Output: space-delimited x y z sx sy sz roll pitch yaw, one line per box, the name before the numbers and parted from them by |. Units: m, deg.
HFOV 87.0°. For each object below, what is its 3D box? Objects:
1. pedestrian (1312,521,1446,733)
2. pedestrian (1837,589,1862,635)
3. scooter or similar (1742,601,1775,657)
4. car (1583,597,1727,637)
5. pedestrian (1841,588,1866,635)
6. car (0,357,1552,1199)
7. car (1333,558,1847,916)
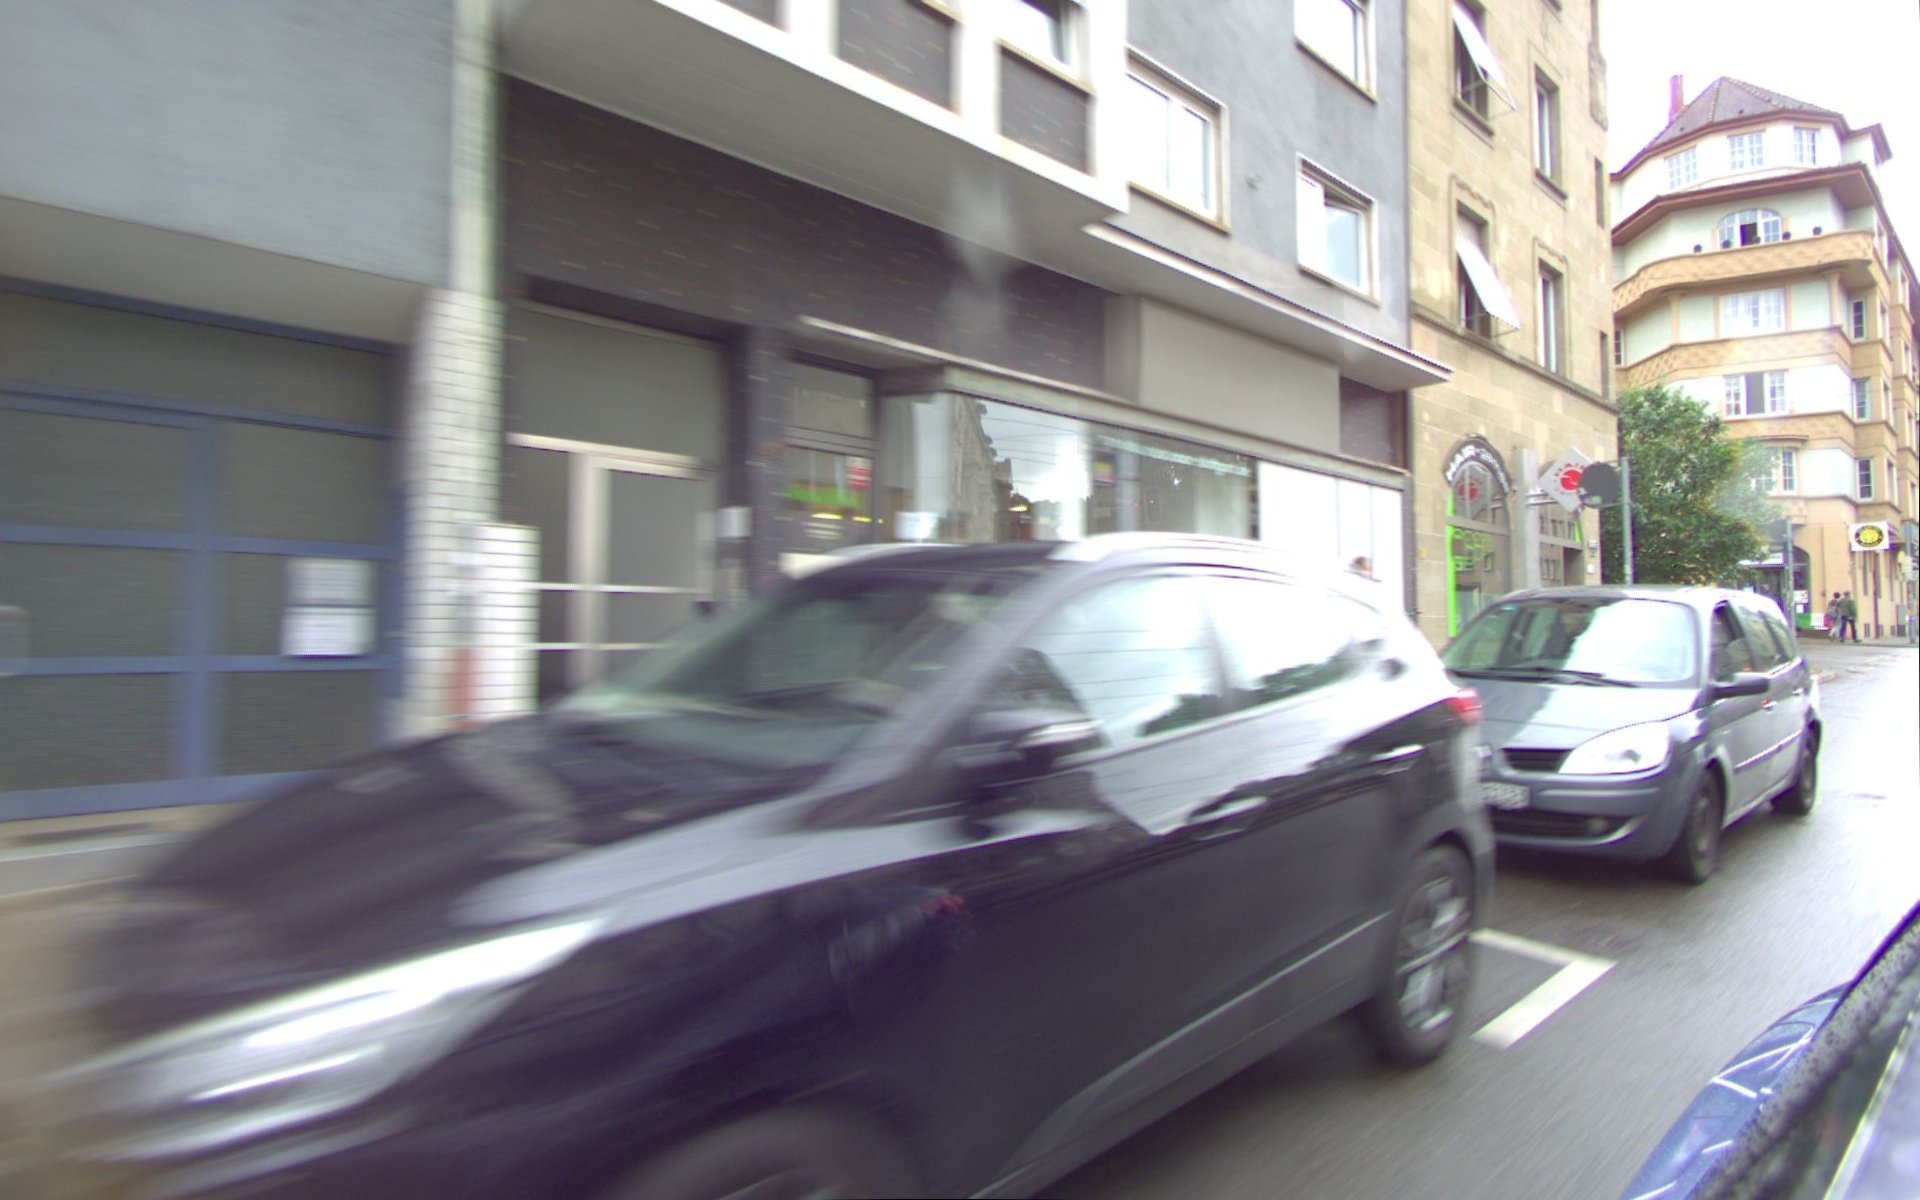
pedestrian | 3.879 0.230 9.388 0.832 1.840 0.852 0 0 -41
pedestrian | 31.158 0.406 35.451 0.390 1.592 0.578 0 -1 -41
scooter or similar | 17.641 0.628 22.345 0.422 1.193 1.431 -1 -1 44
car | 23.679 0.568 34.583 1.560 1.295 3.796 0 -1 -40
pedestrian | 30.946 0.390 35.064 0.430 1.592 0.578 0 -1 -42
car | 0.018 0.585 3.033 4.177 1.675 1.821 0 1 -42
car | 4.411 0.605 6.746 4.441 1.634 1.713 0 1 -42
